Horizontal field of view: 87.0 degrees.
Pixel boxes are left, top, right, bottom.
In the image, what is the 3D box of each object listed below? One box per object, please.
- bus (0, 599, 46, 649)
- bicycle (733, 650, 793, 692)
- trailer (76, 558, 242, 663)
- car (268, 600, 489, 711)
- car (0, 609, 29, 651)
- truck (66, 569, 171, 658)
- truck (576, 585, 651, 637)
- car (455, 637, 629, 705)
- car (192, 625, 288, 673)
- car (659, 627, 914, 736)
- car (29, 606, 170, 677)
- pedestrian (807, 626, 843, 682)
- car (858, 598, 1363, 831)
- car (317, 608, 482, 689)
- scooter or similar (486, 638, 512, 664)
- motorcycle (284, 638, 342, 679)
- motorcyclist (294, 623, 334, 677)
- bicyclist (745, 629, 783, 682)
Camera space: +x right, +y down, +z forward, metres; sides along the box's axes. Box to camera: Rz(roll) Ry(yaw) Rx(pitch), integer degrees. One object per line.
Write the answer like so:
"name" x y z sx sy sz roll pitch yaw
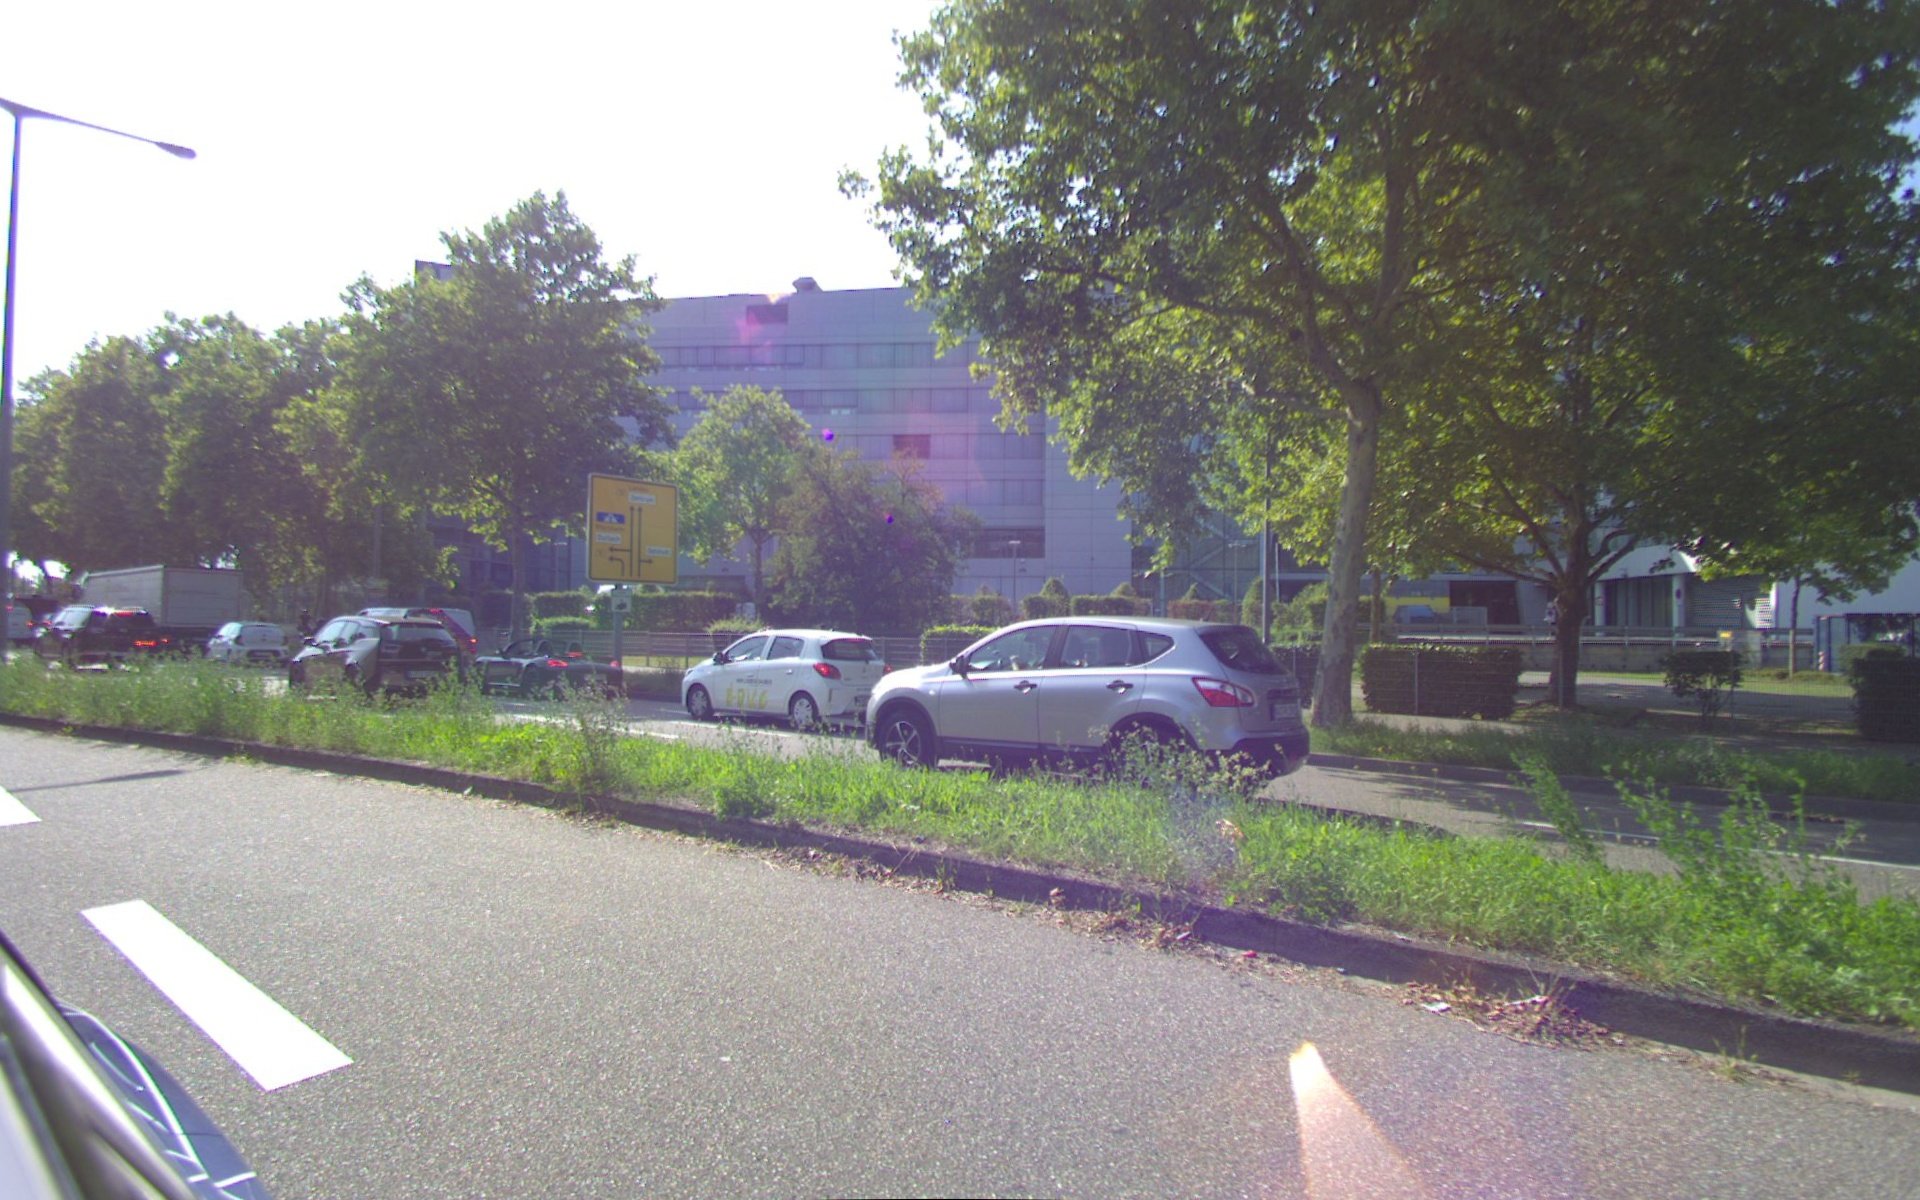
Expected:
"bus" -63.365 1.603 67.101 12.304 3.103 2.563 -1 -2 41
"bicycle" -5.512 1.974 28.334 1.798 1.116 0.641 -1 -3 39
"trailer" -34.087 0.553 42.705 13.800 3.851 2.606 -1 -4 40
"car" -10.546 0.975 18.252 4.302 1.773 1.974 -1 -4 39
"car" -47.493 1.467 49.649 5.031 1.968 1.973 -1 -3 40
"truck" -39.073 0.665 46.938 5.886 3.849 2.581 -1 -4 40
"truck" -20.149 0.660 59.150 2.209 2.883 5.901 0 -1 2
"car" -8.889 1.456 21.376 4.094 1.272 1.771 -1 -4 42
"car" -24.113 1.620 33.859 3.829 1.490 1.728 -1 -3 41
"car" -2.802 1.192 15.977 3.995 1.493 1.773 -1 -3 39
"car" -23.477 1.113 27.560 4.470 1.773 1.975 -1 -3 37
"pedestrian" -4.063 1.608 30.369 0.933 1.665 0.611 -1 -2 40
"car" 1.195 0.857 9.040 4.104 1.606 1.861 -1 -3 40
"car" -14.280 1.206 25.659 4.965 1.873 1.964 -1 -4 40
"scooter or similar" -20.413 2.253 44.813 1.380 1.136 0.503 -1 -2 41
"motorcycle" -19.260 1.714 30.091 2.466 1.115 0.786 -1 -2 41
"motorcyclist" -19.171 1.480 30.021 0.922 1.566 0.770 -1 -2 41
"bicyclist" -5.481 1.534 28.346 0.839 1.450 0.641 -1 -3 39
